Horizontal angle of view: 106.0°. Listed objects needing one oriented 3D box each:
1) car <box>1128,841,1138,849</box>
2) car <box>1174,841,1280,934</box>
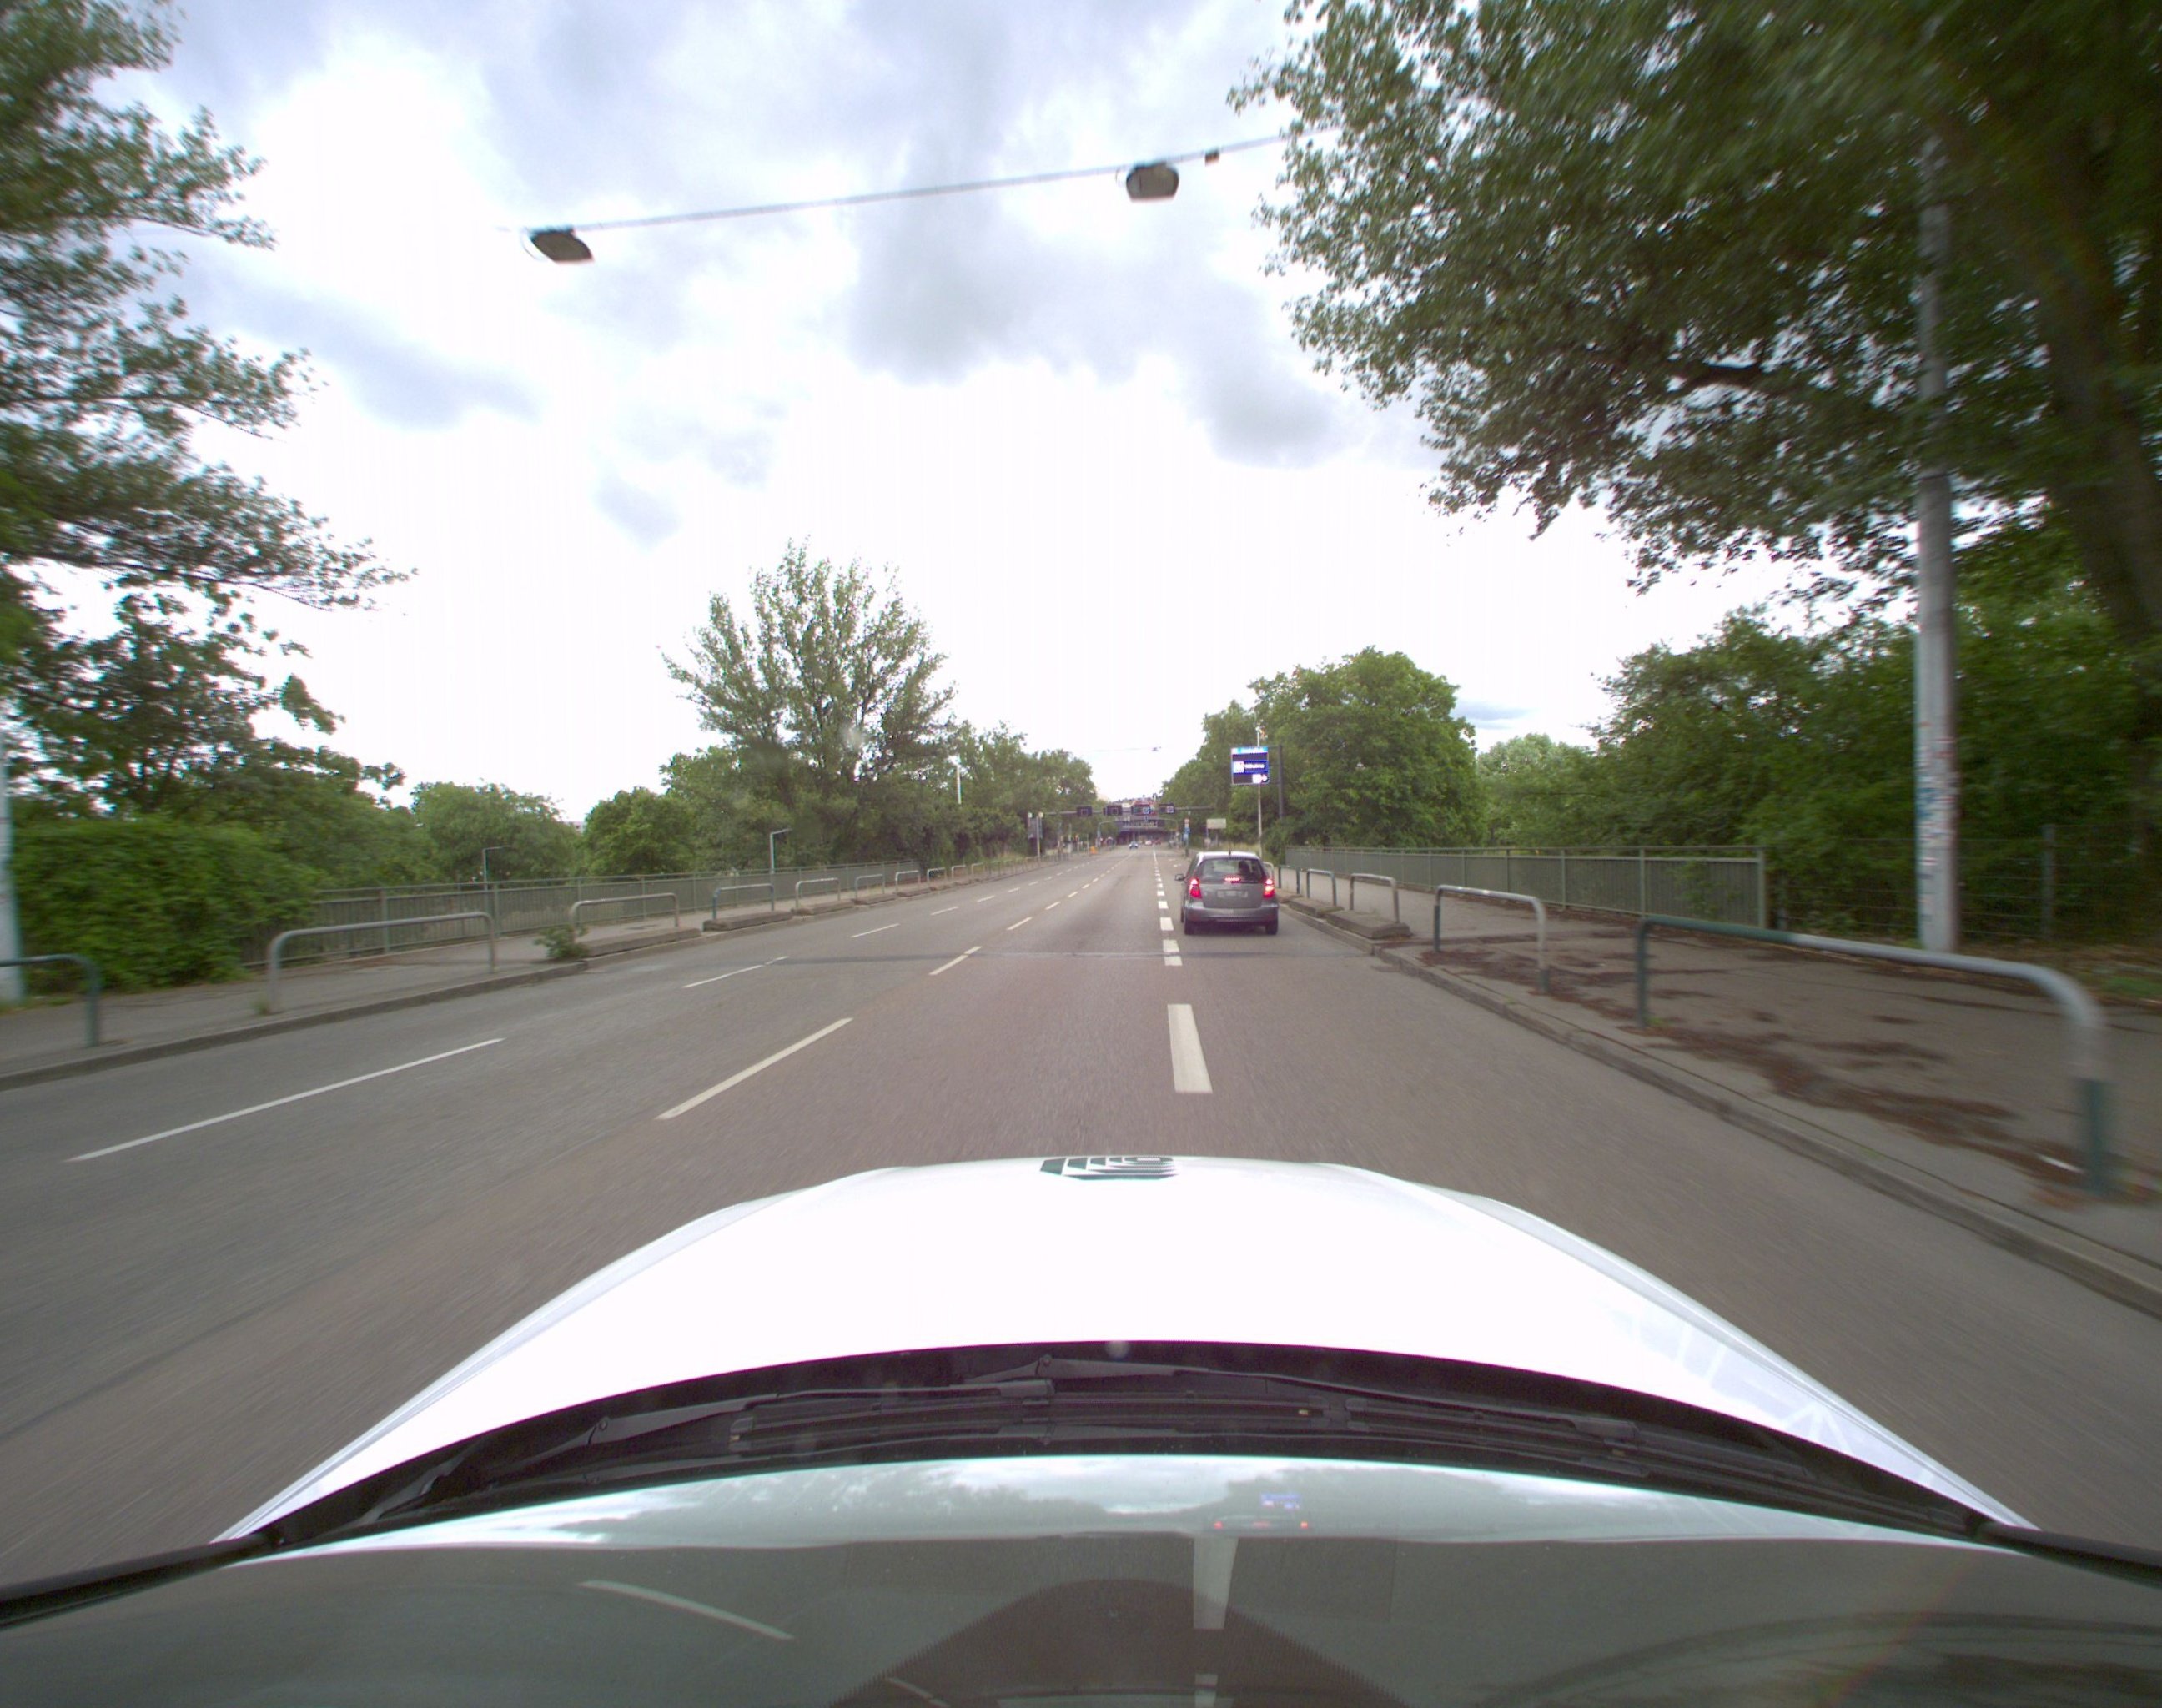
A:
[{"bbox_3d":[12.199,-2.091,191.522,1.982,1.660,4.527,-3,0,8],"label":"car"},{"bbox_3d":[2.859,0.585,16.499,1.816,1.616,4.043,-2,0,7],"label":"car"}]
